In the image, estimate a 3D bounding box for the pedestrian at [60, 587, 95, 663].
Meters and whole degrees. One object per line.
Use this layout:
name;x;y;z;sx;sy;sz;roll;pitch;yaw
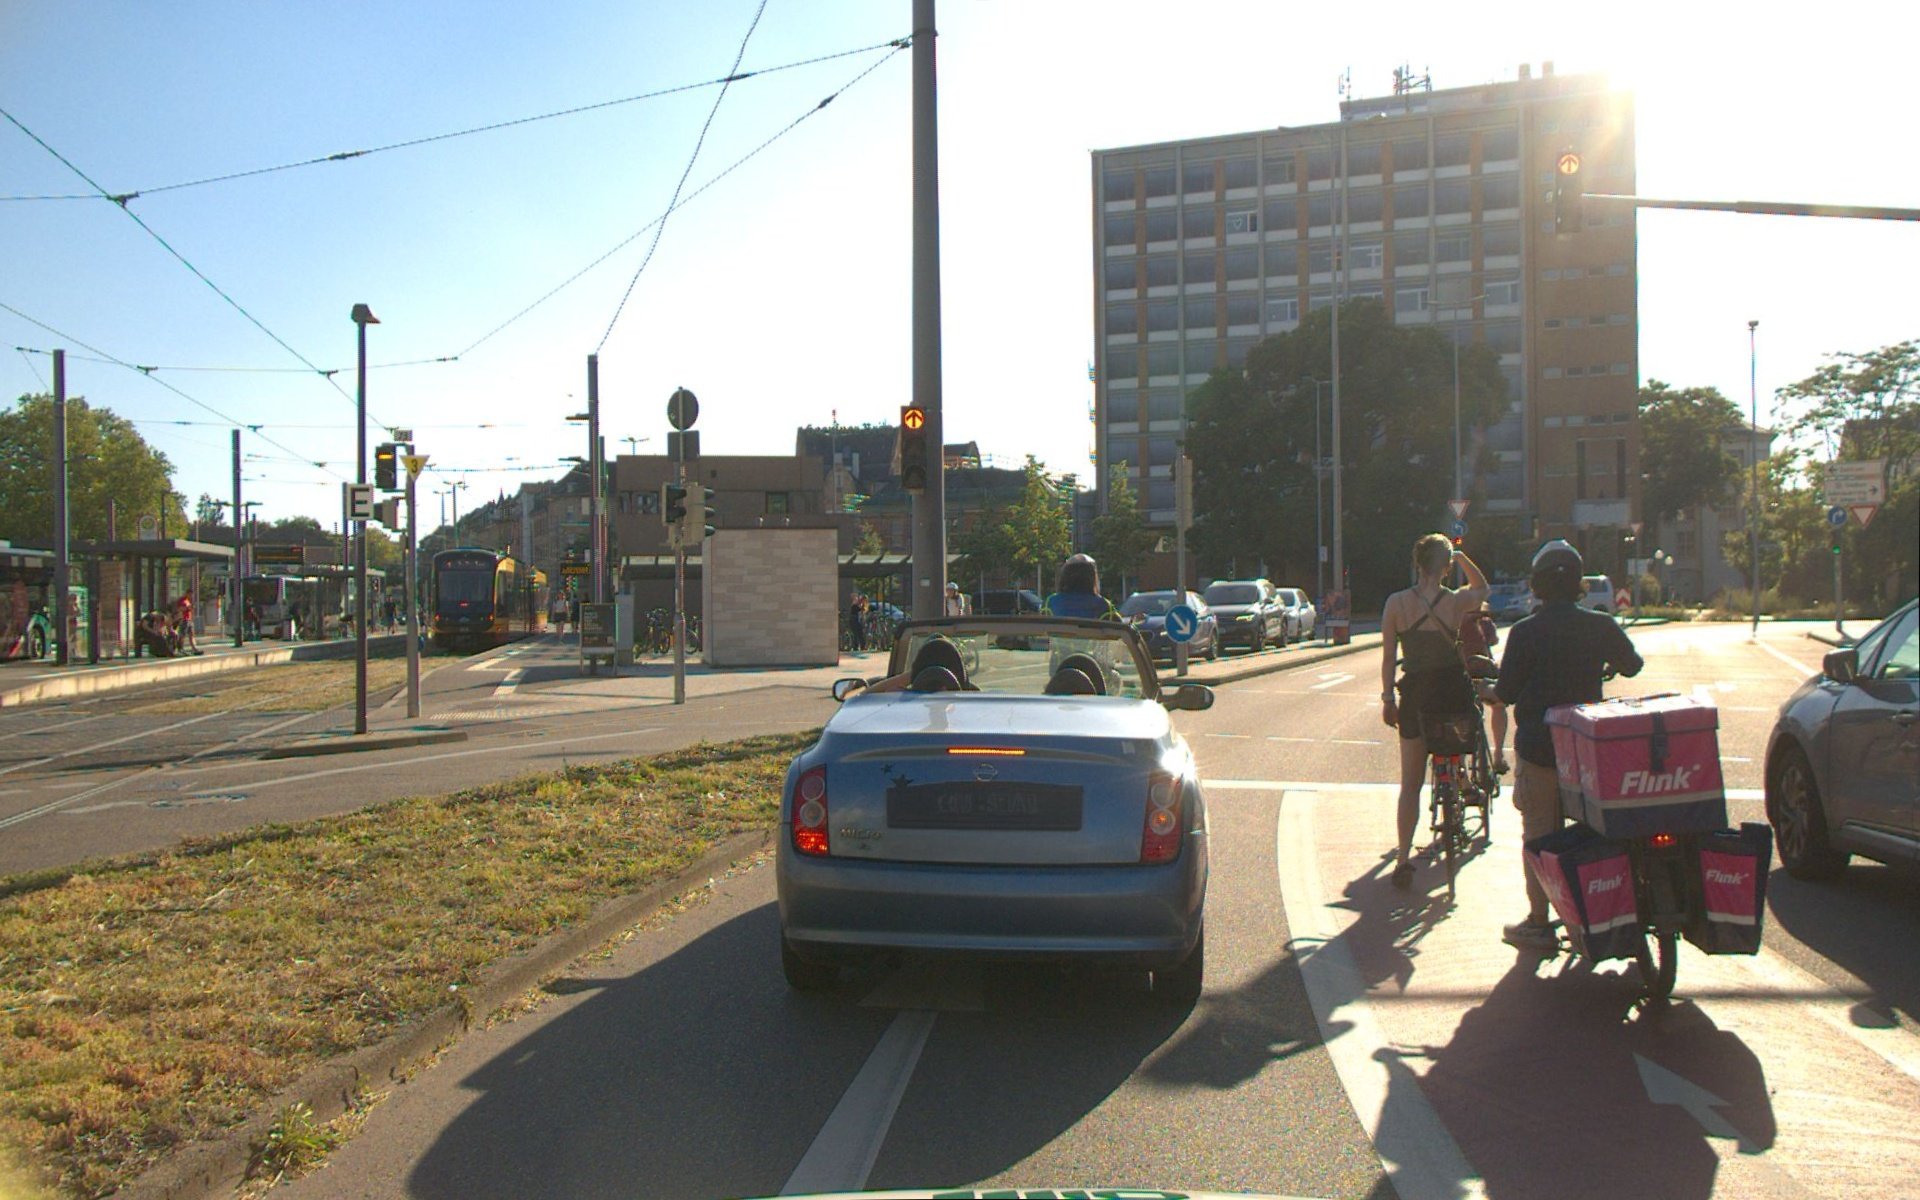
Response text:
pedestrian;-20.973;0.590;39.316;0.527;1.779;0.559;-1;0;-6

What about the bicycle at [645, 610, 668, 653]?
bicycle;-8.425;0.861;45.846;0.596;1.134;1.891;1;0;-11

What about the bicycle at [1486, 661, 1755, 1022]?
bicycle;2.727;0.900;7.072;0.542;1.192;2.374;1;0;9

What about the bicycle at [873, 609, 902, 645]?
bicycle;-2.339;0.867;53.187;0.596;1.134;1.890;1;0;-13

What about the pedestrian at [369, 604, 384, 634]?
pedestrian;-34.627;1.107;98.182;0.720;1.779;0.638;-1;0;-8

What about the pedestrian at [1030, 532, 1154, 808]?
pedestrian;0.968;0.486;11.965;0.815;1.901;0.921;1;-1;8

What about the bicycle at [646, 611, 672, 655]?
bicycle;-7.993;0.860;43.928;0.596;1.134;1.890;1;0;-13

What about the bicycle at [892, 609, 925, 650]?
bicycle;-1.497;0.830;47.541;0.596;1.134;1.890;1;0;-13

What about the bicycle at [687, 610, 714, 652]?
bicycle;-7.280;0.862;46.333;0.596;1.134;1.890;1;0;-13

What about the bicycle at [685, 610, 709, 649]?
bicycle;-7.980;0.893;50.196;0.596;1.134;1.890;1;0;-13

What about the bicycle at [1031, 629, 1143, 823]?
bicycle;0.952;0.830;11.896;0.595;1.212;2.416;1;0;9

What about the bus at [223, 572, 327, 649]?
bus;-32.736;0.466;79.552;2.675;3.331;13.413;1;0;-14

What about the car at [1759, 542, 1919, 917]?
car;5.285;0.607;7.397;1.792;1.719;4.372;1;0;8

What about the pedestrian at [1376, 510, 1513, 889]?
pedestrian;2.559;0.500;8.808;0.645;1.901;0.873;1;-1;14

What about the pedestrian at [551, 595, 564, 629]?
pedestrian;-21.791;0.648;89.577;0.593;1.779;0.830;-1;0;-8

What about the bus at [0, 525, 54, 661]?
bus;-23.562;-0.179;37.168;2.606;3.190;9.619;1;0;-10

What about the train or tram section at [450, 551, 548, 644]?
train or tram section;-19.981;-0.084;72.360;2.957;3.659;12.169;1;0;-10

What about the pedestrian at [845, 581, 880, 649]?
pedestrian;-2.756;0.421;46.722;0.885;1.901;0.685;1;-1;-13

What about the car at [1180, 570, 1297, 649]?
car;6.766;0.210;39.811;1.726;1.736;4.529;-2;-1;23

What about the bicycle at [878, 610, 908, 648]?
bicycle;-2.089;0.886;51.219;0.596;1.134;1.890;1;0;-13

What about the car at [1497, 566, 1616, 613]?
car;26.349;-0.447;73.120;4.604;1.979;1.911;-1;0;-9

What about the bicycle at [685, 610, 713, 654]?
bicycle;-6.990;0.844;44.274;0.596;1.134;1.890;1;0;-13

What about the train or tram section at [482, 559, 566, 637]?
train or tram section;-22.047;-0.069;84.255;2.984;3.659;12.024;1;0;-10

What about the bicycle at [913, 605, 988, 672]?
bicycle;-0.156;0.711;31.445;0.660;1.201;2.183;-1;0;21

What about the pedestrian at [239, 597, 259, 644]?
pedestrian;-27.275;0.779;63.446;0.630;1.779;0.567;-1;0;-27

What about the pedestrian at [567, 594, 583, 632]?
pedestrian;-18.185;0.605;78.147;0.628;1.779;0.732;-1;0;-19

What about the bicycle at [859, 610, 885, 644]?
bicycle;-3.021;0.910;56.682;0.596;1.134;1.890;1;0;-13

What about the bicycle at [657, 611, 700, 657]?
bicycle;-7.185;0.857;42.335;0.594;1.134;1.898;1;0;5

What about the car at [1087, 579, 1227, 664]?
car;4.071;0.425;33.682;1.702;1.601;3.921;1;0;25

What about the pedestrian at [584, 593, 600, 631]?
pedestrian;-17.511;0.552;78.662;0.628;1.779;0.732;-1;0;-19

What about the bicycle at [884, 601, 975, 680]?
bicycle;-0.505;0.676;28.827;0.660;1.272;2.457;-3;-1;21

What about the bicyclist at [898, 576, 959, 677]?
bicyclist;-0.544;0.456;28.759;0.694;1.686;0.901;-3;-1;21

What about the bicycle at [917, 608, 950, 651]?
bicycle;-0.732;0.807;45.536;0.595;1.134;1.892;1;0;-10

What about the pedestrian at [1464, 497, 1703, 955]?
pedestrian;2.762;0.523;7.424;0.789;1.901;0.957;1;-1;8

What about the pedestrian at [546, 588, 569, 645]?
pedestrian;-12.903;0.527;53.032;0.628;1.779;0.569;-1;0;-19

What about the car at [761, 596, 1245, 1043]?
car;0.354;0.746;7.679;1.625;1.466;4.157;1;0;6

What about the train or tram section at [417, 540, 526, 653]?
train or tram section;-17.647;-0.106;60.405;2.831;3.659;12.161;1;0;-12

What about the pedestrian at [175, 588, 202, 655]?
pedestrian;-20.708;0.582;44.404;0.561;1.779;0.637;-1;0;-17

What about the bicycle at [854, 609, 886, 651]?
bicycle;-2.560;0.843;47.137;0.596;1.134;1.890;1;0;-13

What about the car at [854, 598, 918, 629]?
car;-3.985;0.740;88.609;1.629;1.588;3.549;-1;0;-39

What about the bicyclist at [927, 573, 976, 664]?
bicyclist;-0.156;0.348;31.473;0.694;1.686;0.743;-1;0;21

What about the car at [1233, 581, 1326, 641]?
car;9.011;0.281;46.456;1.661;1.588;3.977;-1;0;25

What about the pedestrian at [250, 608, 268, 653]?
pedestrian;-28.038;1.229;66.154;0.562;1.779;0.636;-1;0;-20

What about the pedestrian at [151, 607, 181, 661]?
pedestrian;-20.095;0.856;41.865;0.606;1.364;0.438;-1;0;-18

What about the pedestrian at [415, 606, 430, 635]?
pedestrian;-33.018;1.271;101.582;0.720;1.779;0.638;-1;0;-8

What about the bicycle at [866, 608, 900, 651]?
bicycle;-2.111;0.782;45.212;0.596;1.134;1.890;1;0;-13

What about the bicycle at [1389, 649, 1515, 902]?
bicycle;2.637;0.876;8.996;0.552;1.171;1.951;1;0;14

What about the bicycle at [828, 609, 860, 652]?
bicycle;-3.163;0.824;45.055;0.596;1.134;1.890;1;0;-13

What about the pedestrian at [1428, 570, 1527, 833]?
pedestrian;3.381;0.631;10.849;0.575;1.626;1.025;1;-1;16

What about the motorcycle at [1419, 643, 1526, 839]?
motorcycle;3.418;0.874;11.111;0.600;1.117;2.361;1;0;16

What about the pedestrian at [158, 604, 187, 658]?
pedestrian;-20.253;0.802;42.546;0.561;1.369;0.637;-1;0;-17

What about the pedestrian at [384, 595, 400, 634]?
pedestrian;-26.066;0.664;75.892;0.630;1.779;0.567;-1;0;-27
